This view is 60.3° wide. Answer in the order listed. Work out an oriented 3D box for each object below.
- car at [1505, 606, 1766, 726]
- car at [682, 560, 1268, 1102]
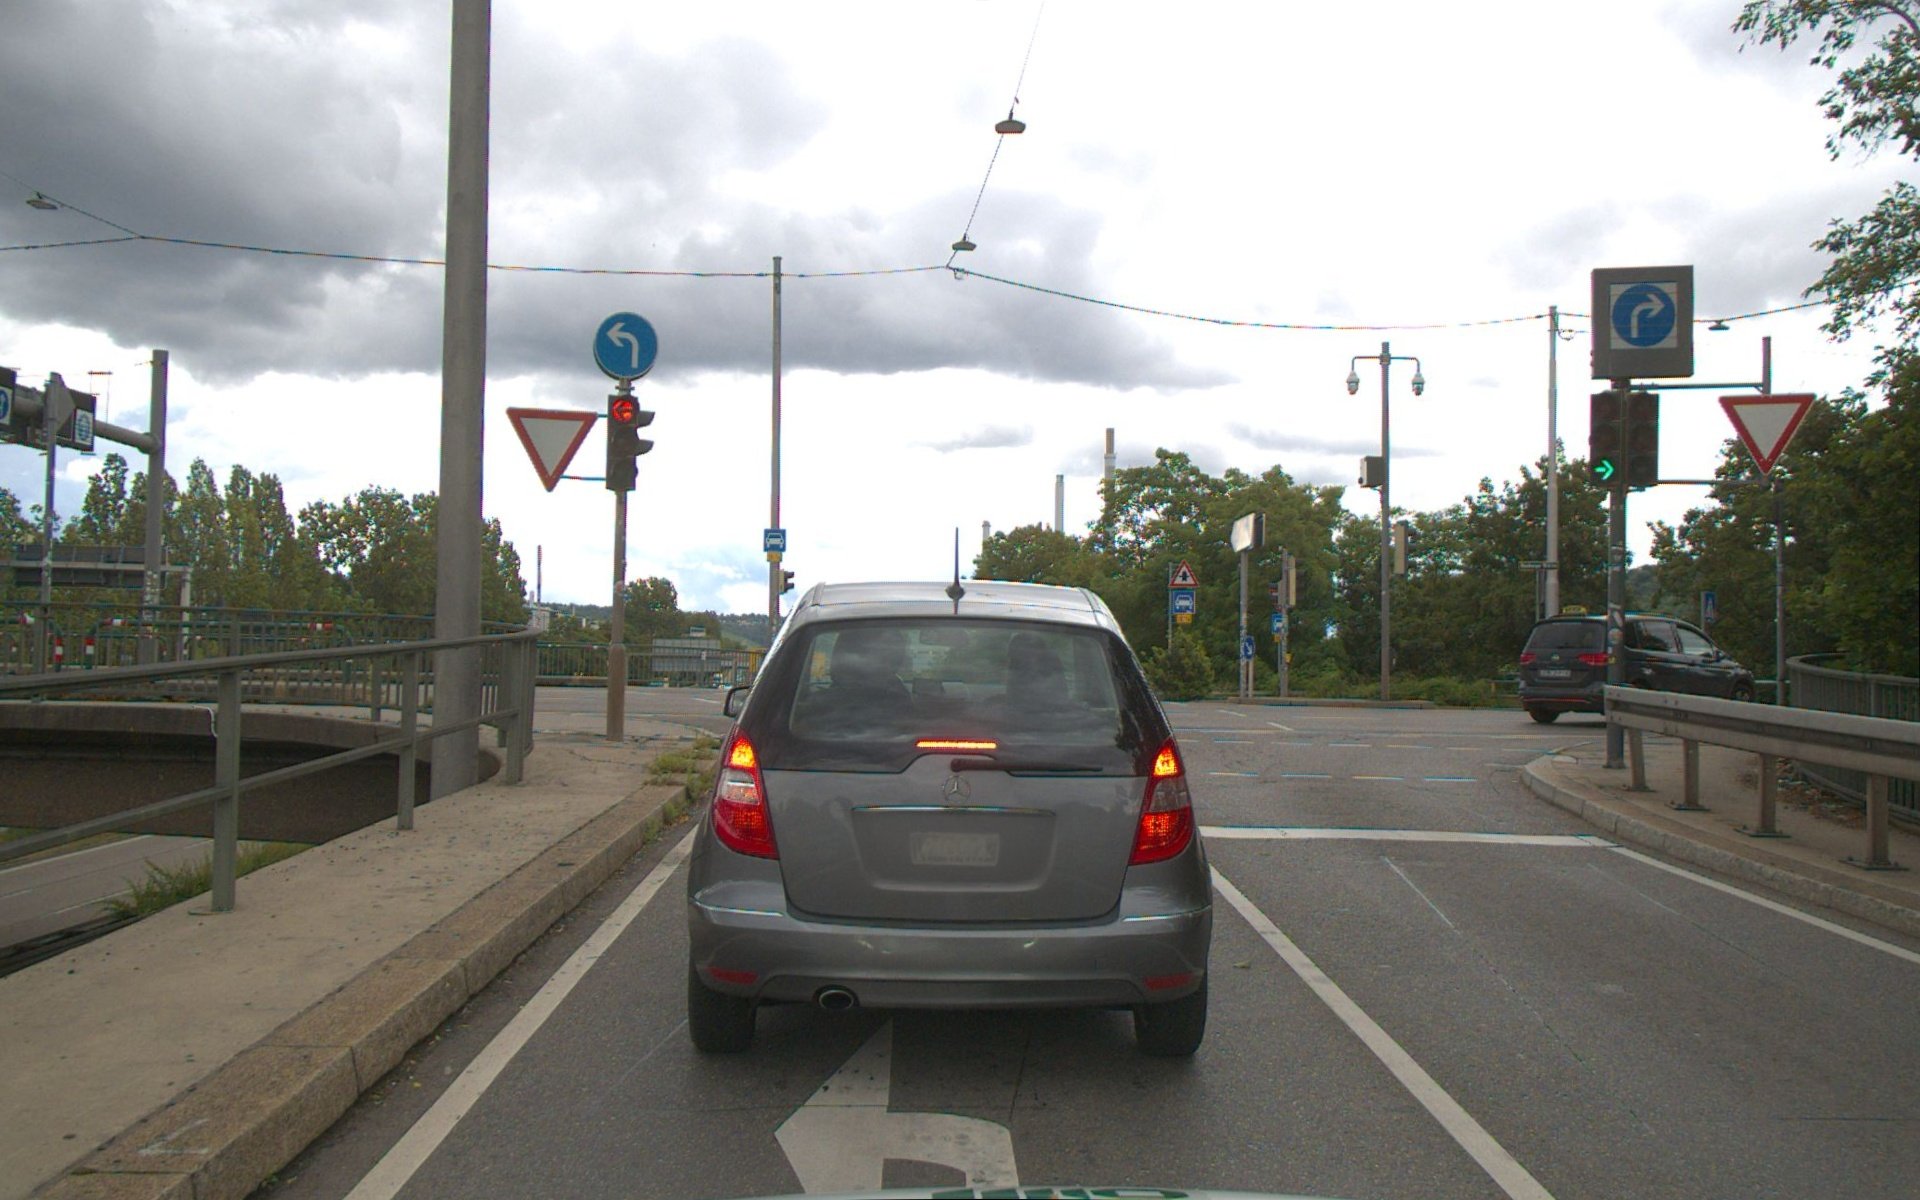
[{"bbox_3d":[10.397,0.975,25.373,4.101,1.682,1.780,1,0,-35],"label":"car"},{"bbox_3d":[0.028,0.689,6.643,1.704,1.570,3.540,1,0,-1],"label":"car"}]
